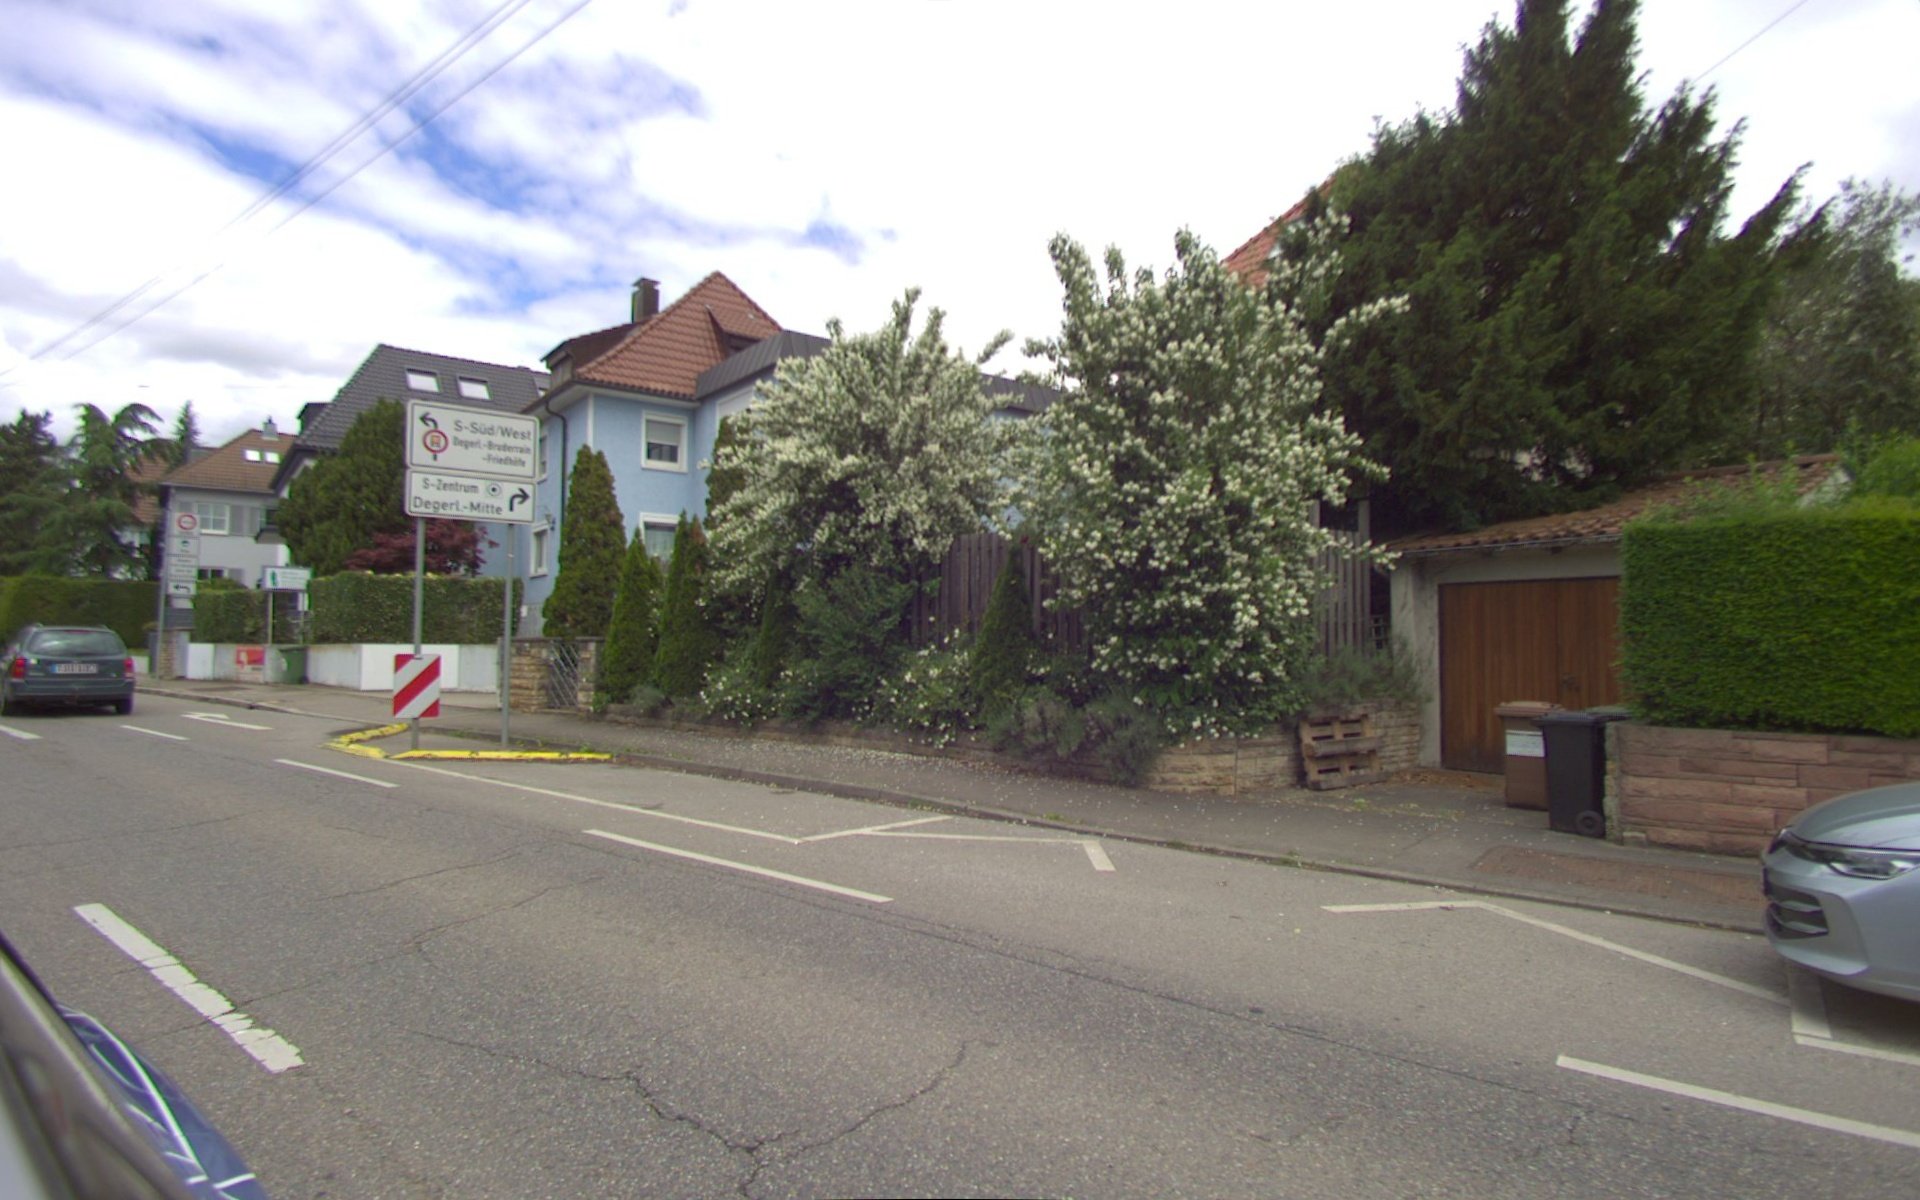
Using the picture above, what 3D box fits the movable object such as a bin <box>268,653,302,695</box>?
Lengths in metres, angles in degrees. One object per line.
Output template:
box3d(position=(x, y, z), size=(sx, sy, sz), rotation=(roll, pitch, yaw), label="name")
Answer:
box3d(position=(-15.880, 1.736, 23.820), size=(0.540, 0.981, 0.502), rotation=(-2, -4, 40), label="movable object such as a bin")

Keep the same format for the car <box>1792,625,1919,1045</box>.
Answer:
box3d(position=(5.496, 0.818, 3.100), size=(4.405, 1.466, 1.793), rotation=(-2, -4, 37), label="car")

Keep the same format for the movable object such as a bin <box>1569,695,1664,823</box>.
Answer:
box3d(position=(5.366, 1.275, 8.274), size=(0.532, 0.949, 0.510), rotation=(2, -2, -40), label="movable object such as a bin")

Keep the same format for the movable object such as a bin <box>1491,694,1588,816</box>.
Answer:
box3d(position=(5.012, 1.319, 8.764), size=(0.442, 0.949, 0.617), rotation=(2, -2, -40), label="movable object such as a bin")

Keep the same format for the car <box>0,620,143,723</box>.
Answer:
box3d(position=(-15.733, 1.192, 17.533), size=(4.445, 1.565, 1.715), rotation=(-2, -4, 42), label="car")

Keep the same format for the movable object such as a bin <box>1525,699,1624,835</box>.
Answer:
box3d(position=(4.774, 1.276, 7.870), size=(0.532, 0.949, 0.510), rotation=(2, -2, -40), label="movable object such as a bin")
